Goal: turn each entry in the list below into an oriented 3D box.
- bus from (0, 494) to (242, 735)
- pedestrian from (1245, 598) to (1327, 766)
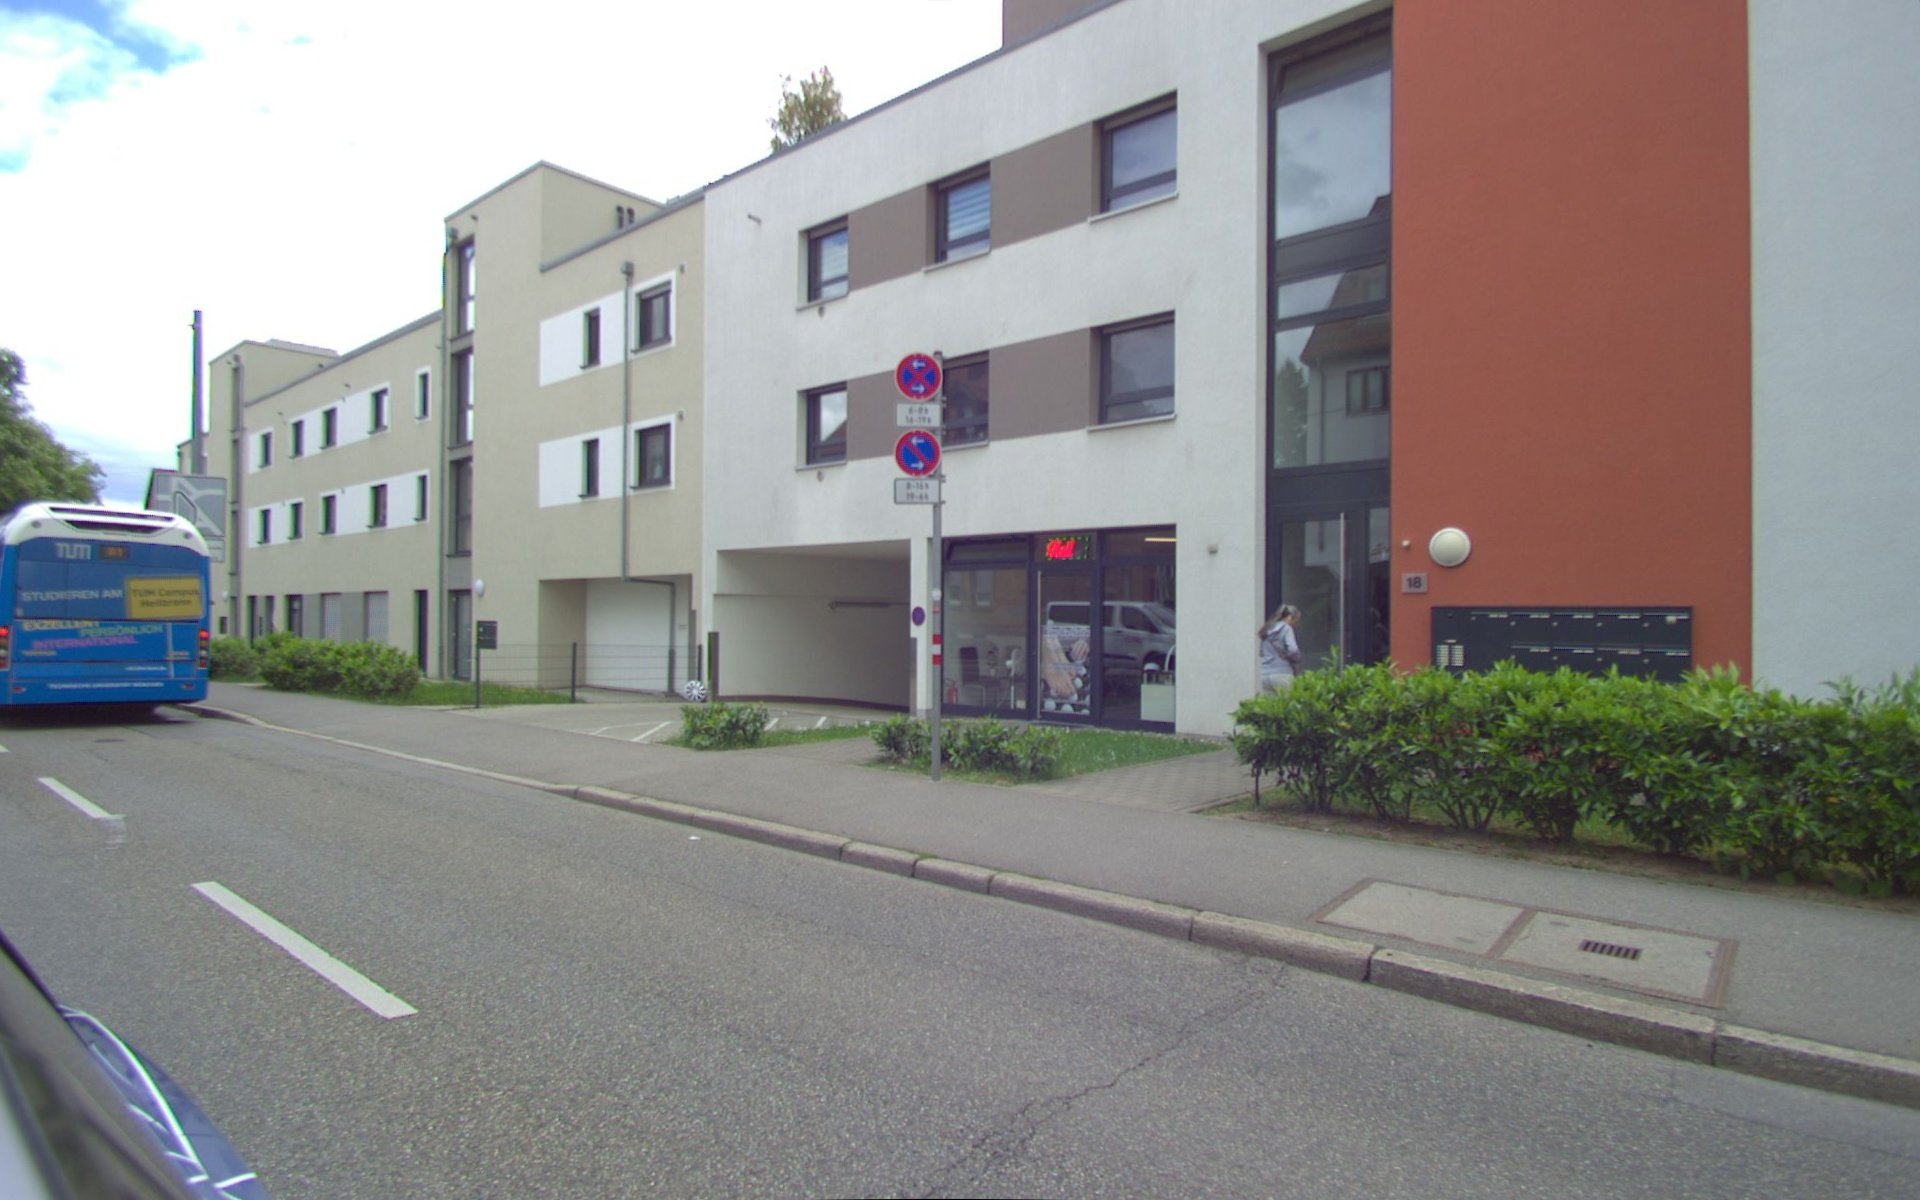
[{"bbox_3d":[-16.860,0.361,18.802,12.001,3.299,2.912,-2,-3,41],"label":"bus"},{"bbox_3d":[3.355,0.818,10.414,0.639,1.655,0.513,-1,-2,39],"label":"pedestrian"}]
